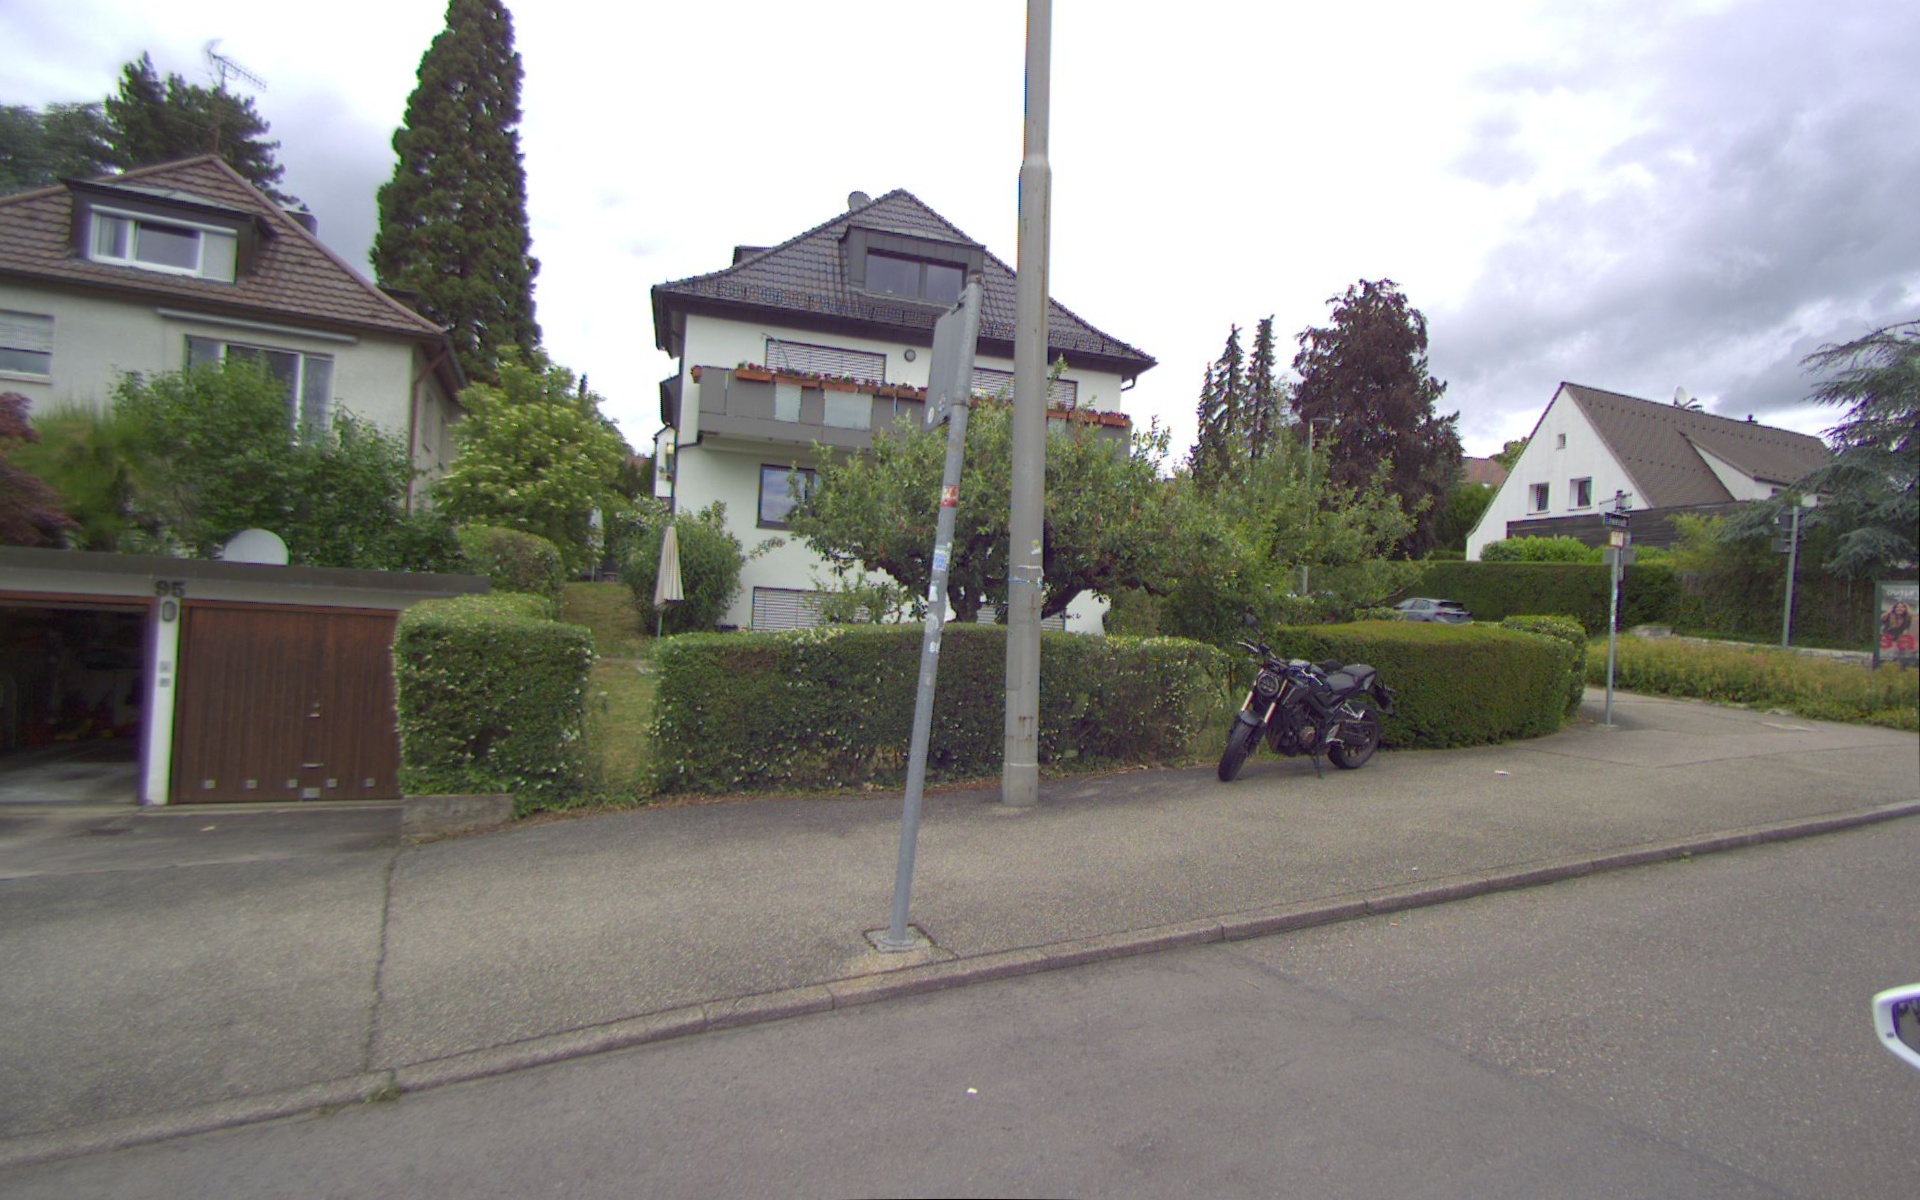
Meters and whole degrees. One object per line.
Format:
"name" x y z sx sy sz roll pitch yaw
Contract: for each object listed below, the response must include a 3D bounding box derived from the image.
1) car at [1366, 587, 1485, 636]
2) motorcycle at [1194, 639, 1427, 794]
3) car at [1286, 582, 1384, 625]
"car" 17.114 0.374 37.114 1.830 1.483 3.989 4 1 -13
"motorcycle" 3.038 0.930 8.621 2.124 1.155 0.768 1 -1 -34
"car" 15.867 0.114 42.773 1.830 1.483 4.160 4 1 -13
